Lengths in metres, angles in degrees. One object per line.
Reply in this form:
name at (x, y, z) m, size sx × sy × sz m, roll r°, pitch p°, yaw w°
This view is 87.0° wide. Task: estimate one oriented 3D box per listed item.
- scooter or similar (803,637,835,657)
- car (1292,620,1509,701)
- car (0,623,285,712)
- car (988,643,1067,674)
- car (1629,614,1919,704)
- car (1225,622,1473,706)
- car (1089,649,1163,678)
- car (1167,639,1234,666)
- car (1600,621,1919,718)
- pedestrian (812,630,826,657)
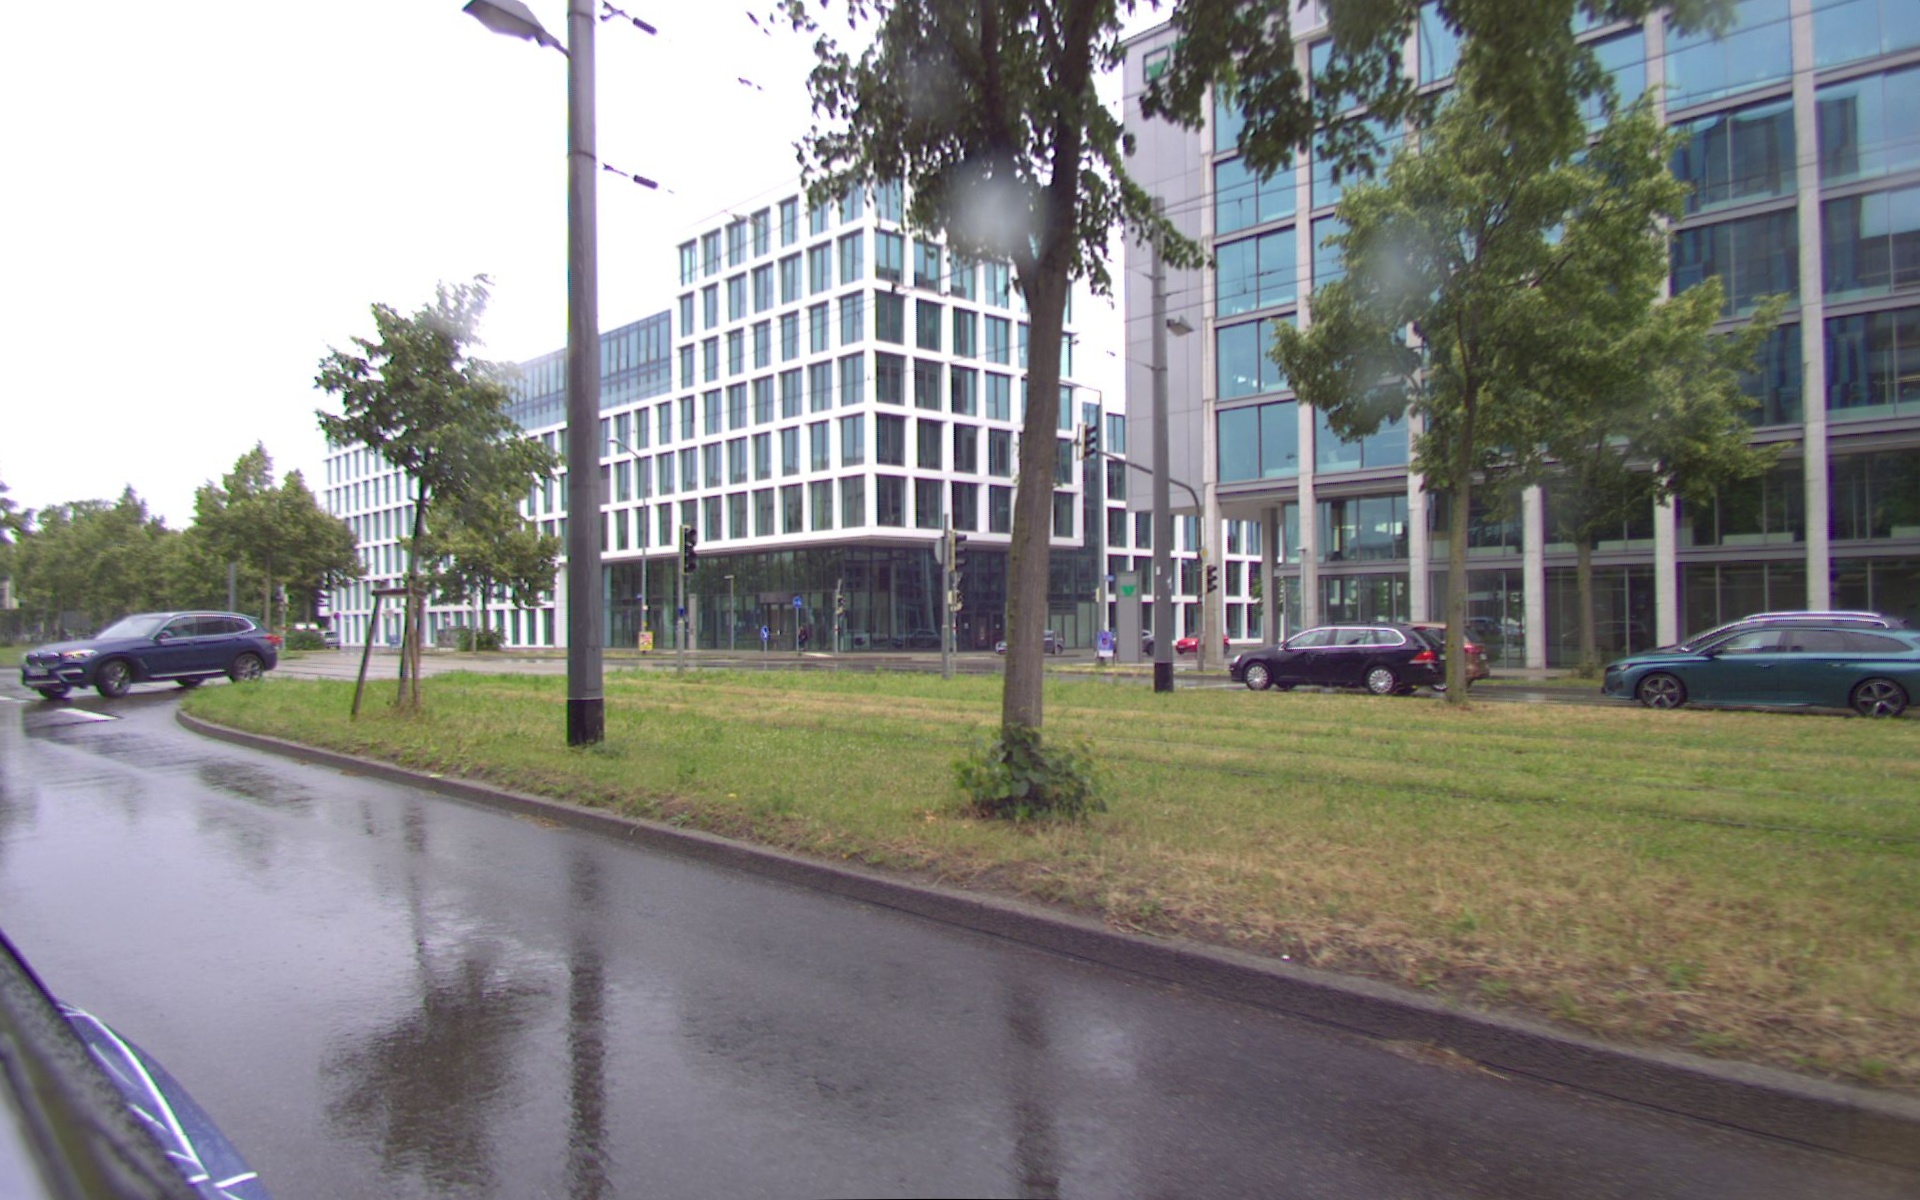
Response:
scooter or similar at (-8.681, 2.915, 62.511) m, size 0.550 × 1.161 × 2.135 m, roll -5°, pitch -4°, yaw 38°
car at (10.198, 1.346, 23.567) m, size 4.267 × 1.707 × 1.931 m, roll -2°, pitch -2°, yaw 39°
car at (-17.285, 1.363, 21.589) m, size 1.912 × 1.673 × 4.691 m, roll -1°, pitch -2°, yaw 16°
car at (3.644, 3.150, 54.586) m, size 4.031 × 1.447 × 1.890 m, roll 0°, pitch -4°, yaw -41°
car at (15.494, 1.154, 19.370) m, size 4.266 × 1.552 × 1.932 m, roll -5°, pitch -4°, yaw 38°
car at (8.101, 1.340, 21.314) m, size 4.460 × 1.571 × 1.931 m, roll -4°, pitch -3°, yaw 40°
car at (9.607, 3.643, 58.321) m, size 4.028 × 1.447 × 1.892 m, roll 0°, pitch -4°, yaw -37°
car at (14.957, 3.261, 62.854) m, size 4.028 × 1.447 × 1.892 m, roll 0°, pitch -4°, yaw -37°
car at (13.198, 1.136, 16.452) m, size 4.467 × 1.396 × 1.931 m, roll -5°, pitch -4°, yaw 39°
pedestrian at (-8.710, 2.678, 62.378) m, size 0.546 × 1.656 × 0.626 m, roll -1°, pitch -2°, yaw 41°
